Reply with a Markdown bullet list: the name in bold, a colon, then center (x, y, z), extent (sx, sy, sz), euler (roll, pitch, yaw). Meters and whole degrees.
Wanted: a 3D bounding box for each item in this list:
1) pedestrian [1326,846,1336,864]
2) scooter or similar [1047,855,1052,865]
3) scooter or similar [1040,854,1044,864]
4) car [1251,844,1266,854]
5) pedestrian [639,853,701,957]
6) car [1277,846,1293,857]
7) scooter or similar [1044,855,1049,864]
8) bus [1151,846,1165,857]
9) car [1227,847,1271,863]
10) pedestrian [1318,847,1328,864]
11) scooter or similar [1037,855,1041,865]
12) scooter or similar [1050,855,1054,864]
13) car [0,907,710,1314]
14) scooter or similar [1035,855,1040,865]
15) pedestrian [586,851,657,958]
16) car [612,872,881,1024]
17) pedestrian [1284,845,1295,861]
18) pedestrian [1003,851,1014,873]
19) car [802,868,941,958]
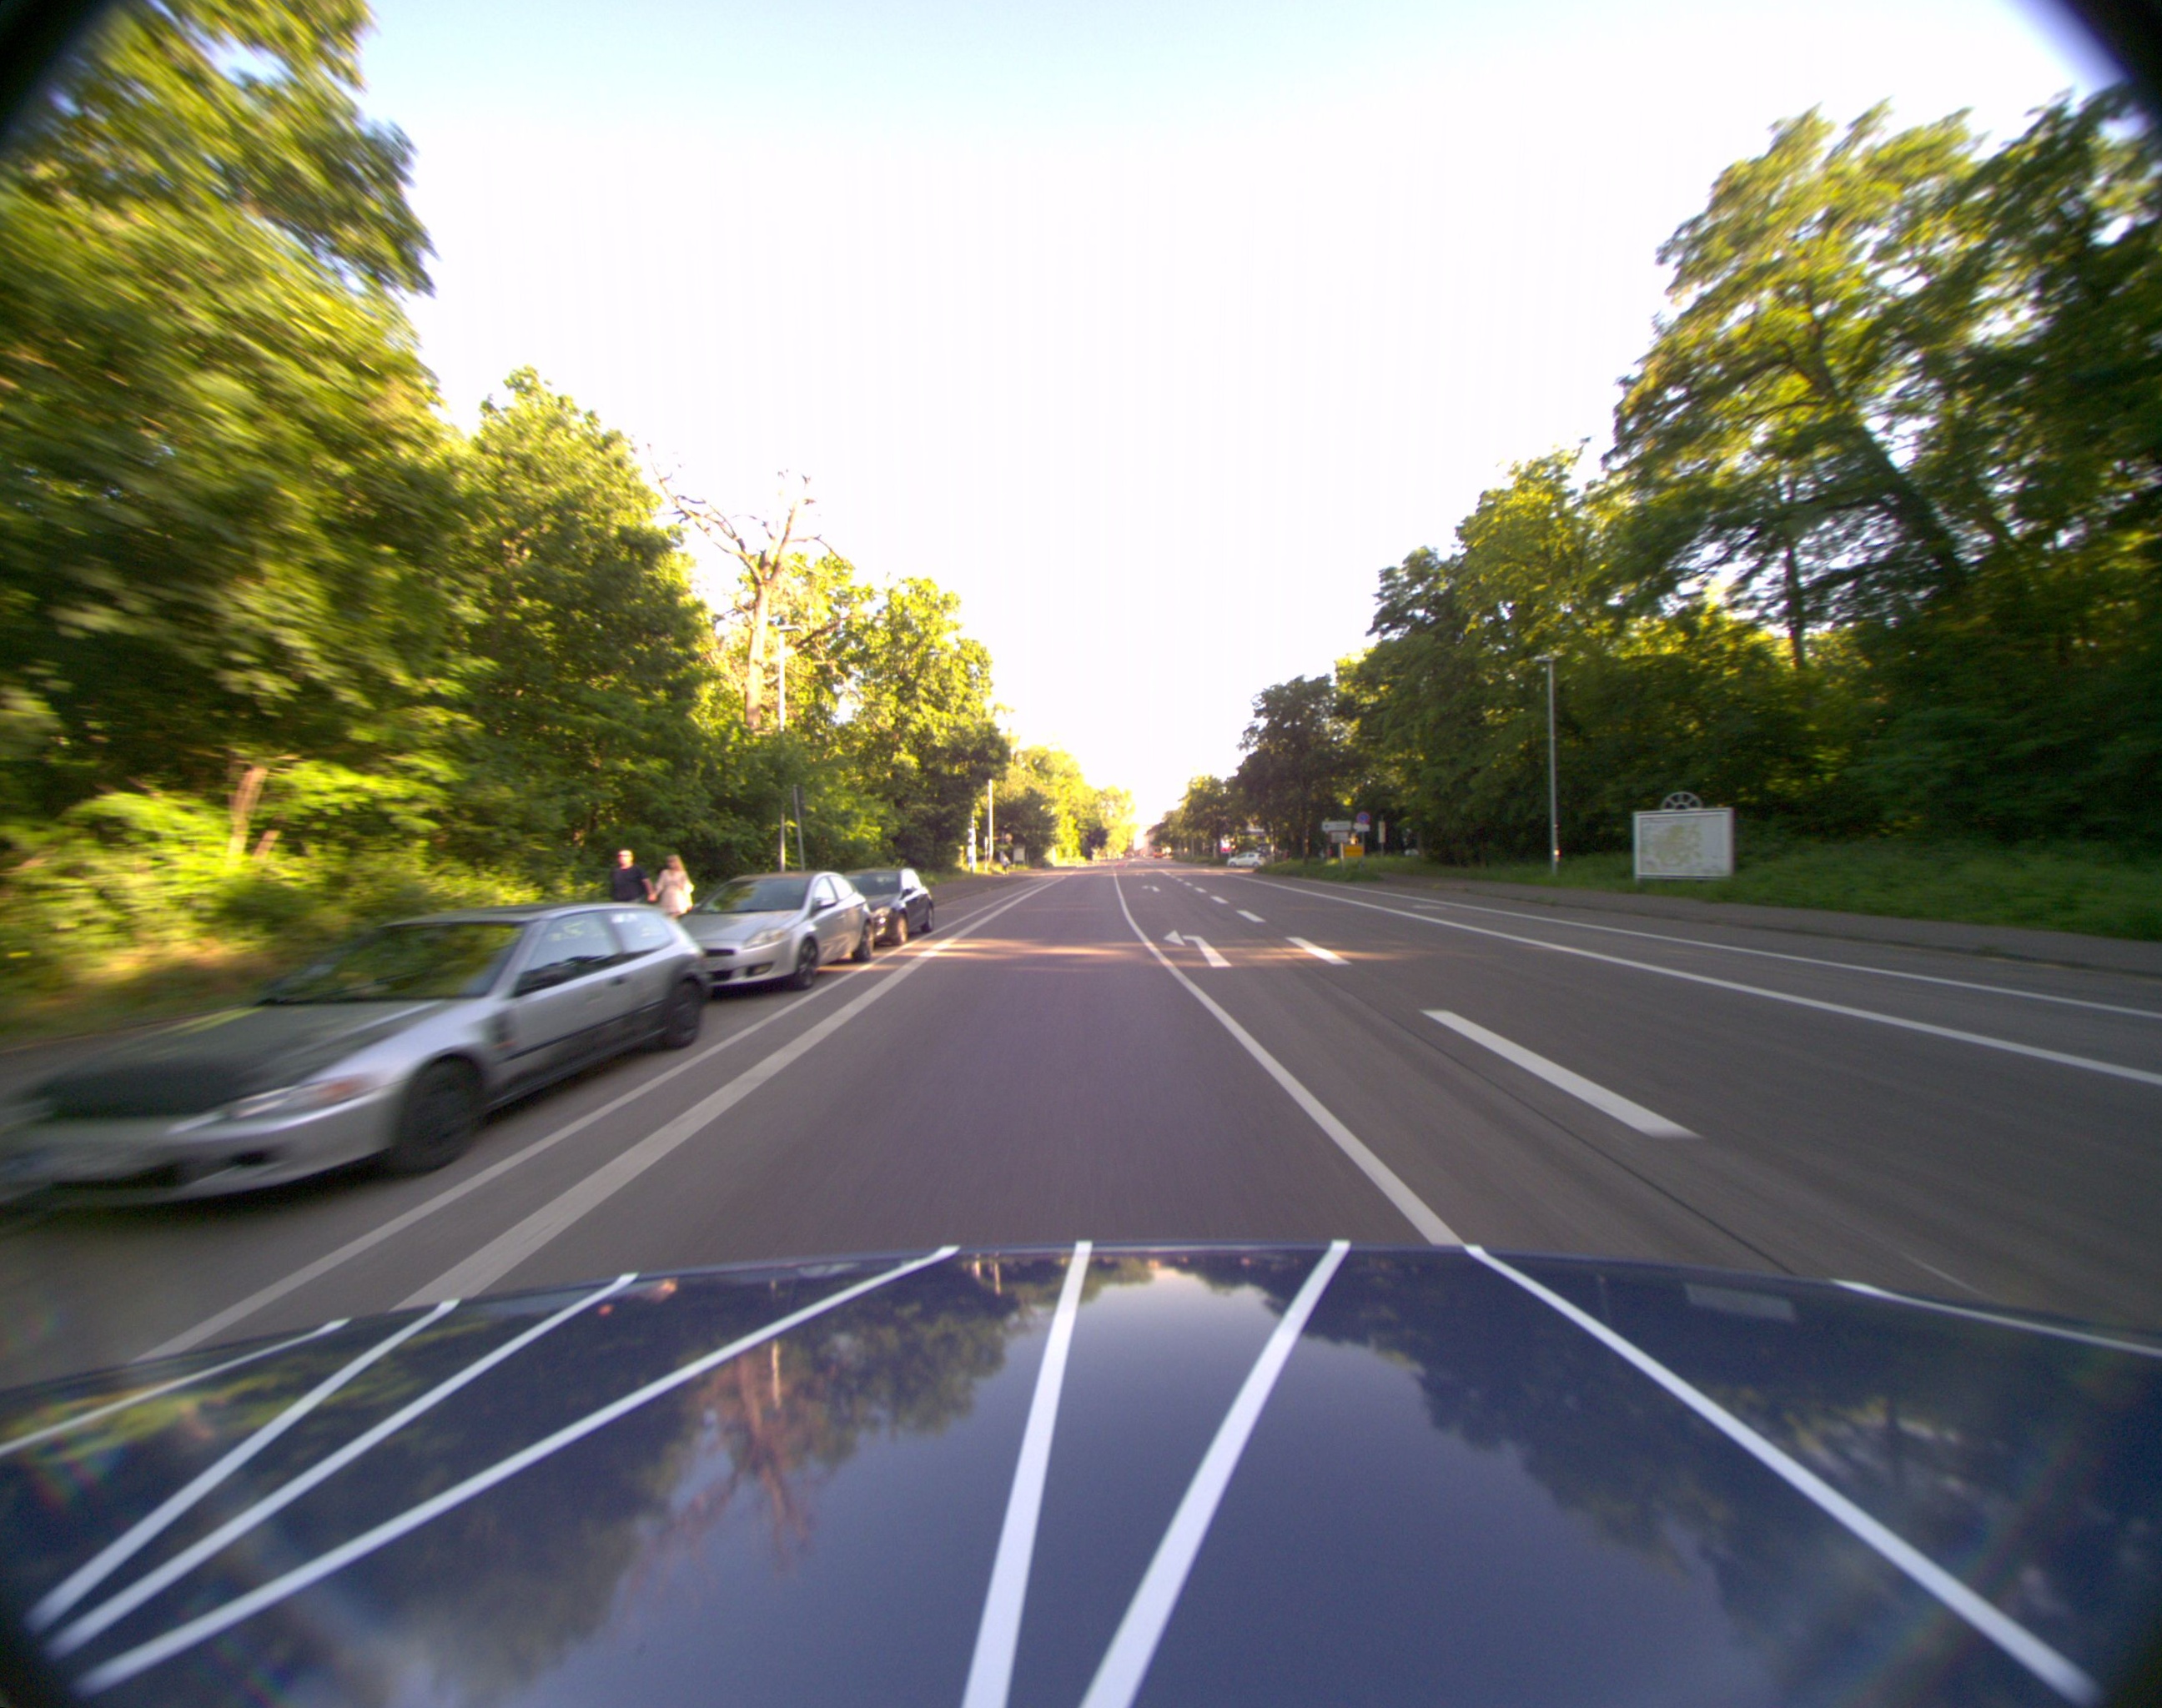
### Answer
- **pedestrian**: center (26.020, 0.087, 78.986), extent (0.832, 1.809, 0.738), euler (0, 1, 33)
- **scooter or similar**: center (-3.787, 0.674, 90.991), extent (0.386, 1.177, 1.103), euler (-1, 1, 3)
- **scooter or similar**: center (-4.592, 0.626, 89.051), extent (0.386, 1.177, 1.103), euler (-1, 1, 3)
- **car**: center (28.647, -0.791, 122.719), extent (1.758, 1.631, 3.613), euler (-1, 0, 5)
- **pedestrian**: center (-7.258, 0.874, 13.435), extent (0.676, 1.788, 0.789), euler (1, 1, -2)
- **car**: center (32.262, -0.429, 120.075), extent (1.758, 1.631, 3.838), euler (-1, 0, 5)
- **scooter or similar**: center (-4.204, 0.672, 92.575), extent (0.386, 1.177, 1.103), euler (-1, 1, 3)
- **bus**: center (24.312, -0.830, 239.944), extent (3.038, 3.388, 9.479), euler (-1, 0, -2)
- **car**: center (16.668, 0.146, 75.428), extent (3.932, 1.517, 1.834), euler (-1, 1, 36)
- **pedestrian**: center (25.386, 0.162, 79.796), extent (0.832, 1.809, 0.738), euler (0, 1, 33)
- **scooter or similar**: center (-4.847, 0.655, 87.864), extent (0.386, 1.177, 1.103), euler (-1, 1, 3)
- **scooter or similar**: center (-3.719, 0.749, 98.089), extent (0.386, 1.177, 1.103), euler (-1, 1, 3)
- **car**: center (-4.212, 1.174, 4.959), extent (1.632, 1.312, 3.840), euler (-2, 0, 0)
- **scooter or similar**: center (-4.902, 0.677, 86.156), extent (0.386, 1.177, 1.188), euler (-1, 1, 3)
- **pedestrian**: center (-7.962, 0.842, 13.202), extent (0.676, 1.788, 0.953), euler (1, 1, -2)
- **car**: center (-4.229, 1.082, 10.494), extent (1.741, 1.516, 4.359), euler (-1, 0, 0)
- **pedestrian**: center (22.554, -0.105, 82.017), extent (0.737, 1.809, 0.833), euler (-2, 1, -34)
- **pedestrian**: center (-6.022, 0.628, 62.999), extent (0.809, 1.789, 0.734), euler (-1, 1, 2)
- **car**: center (-4.042, 1.075, 15.336), extent (1.661, 1.443, 4.019), euler (-1, 0, 0)
